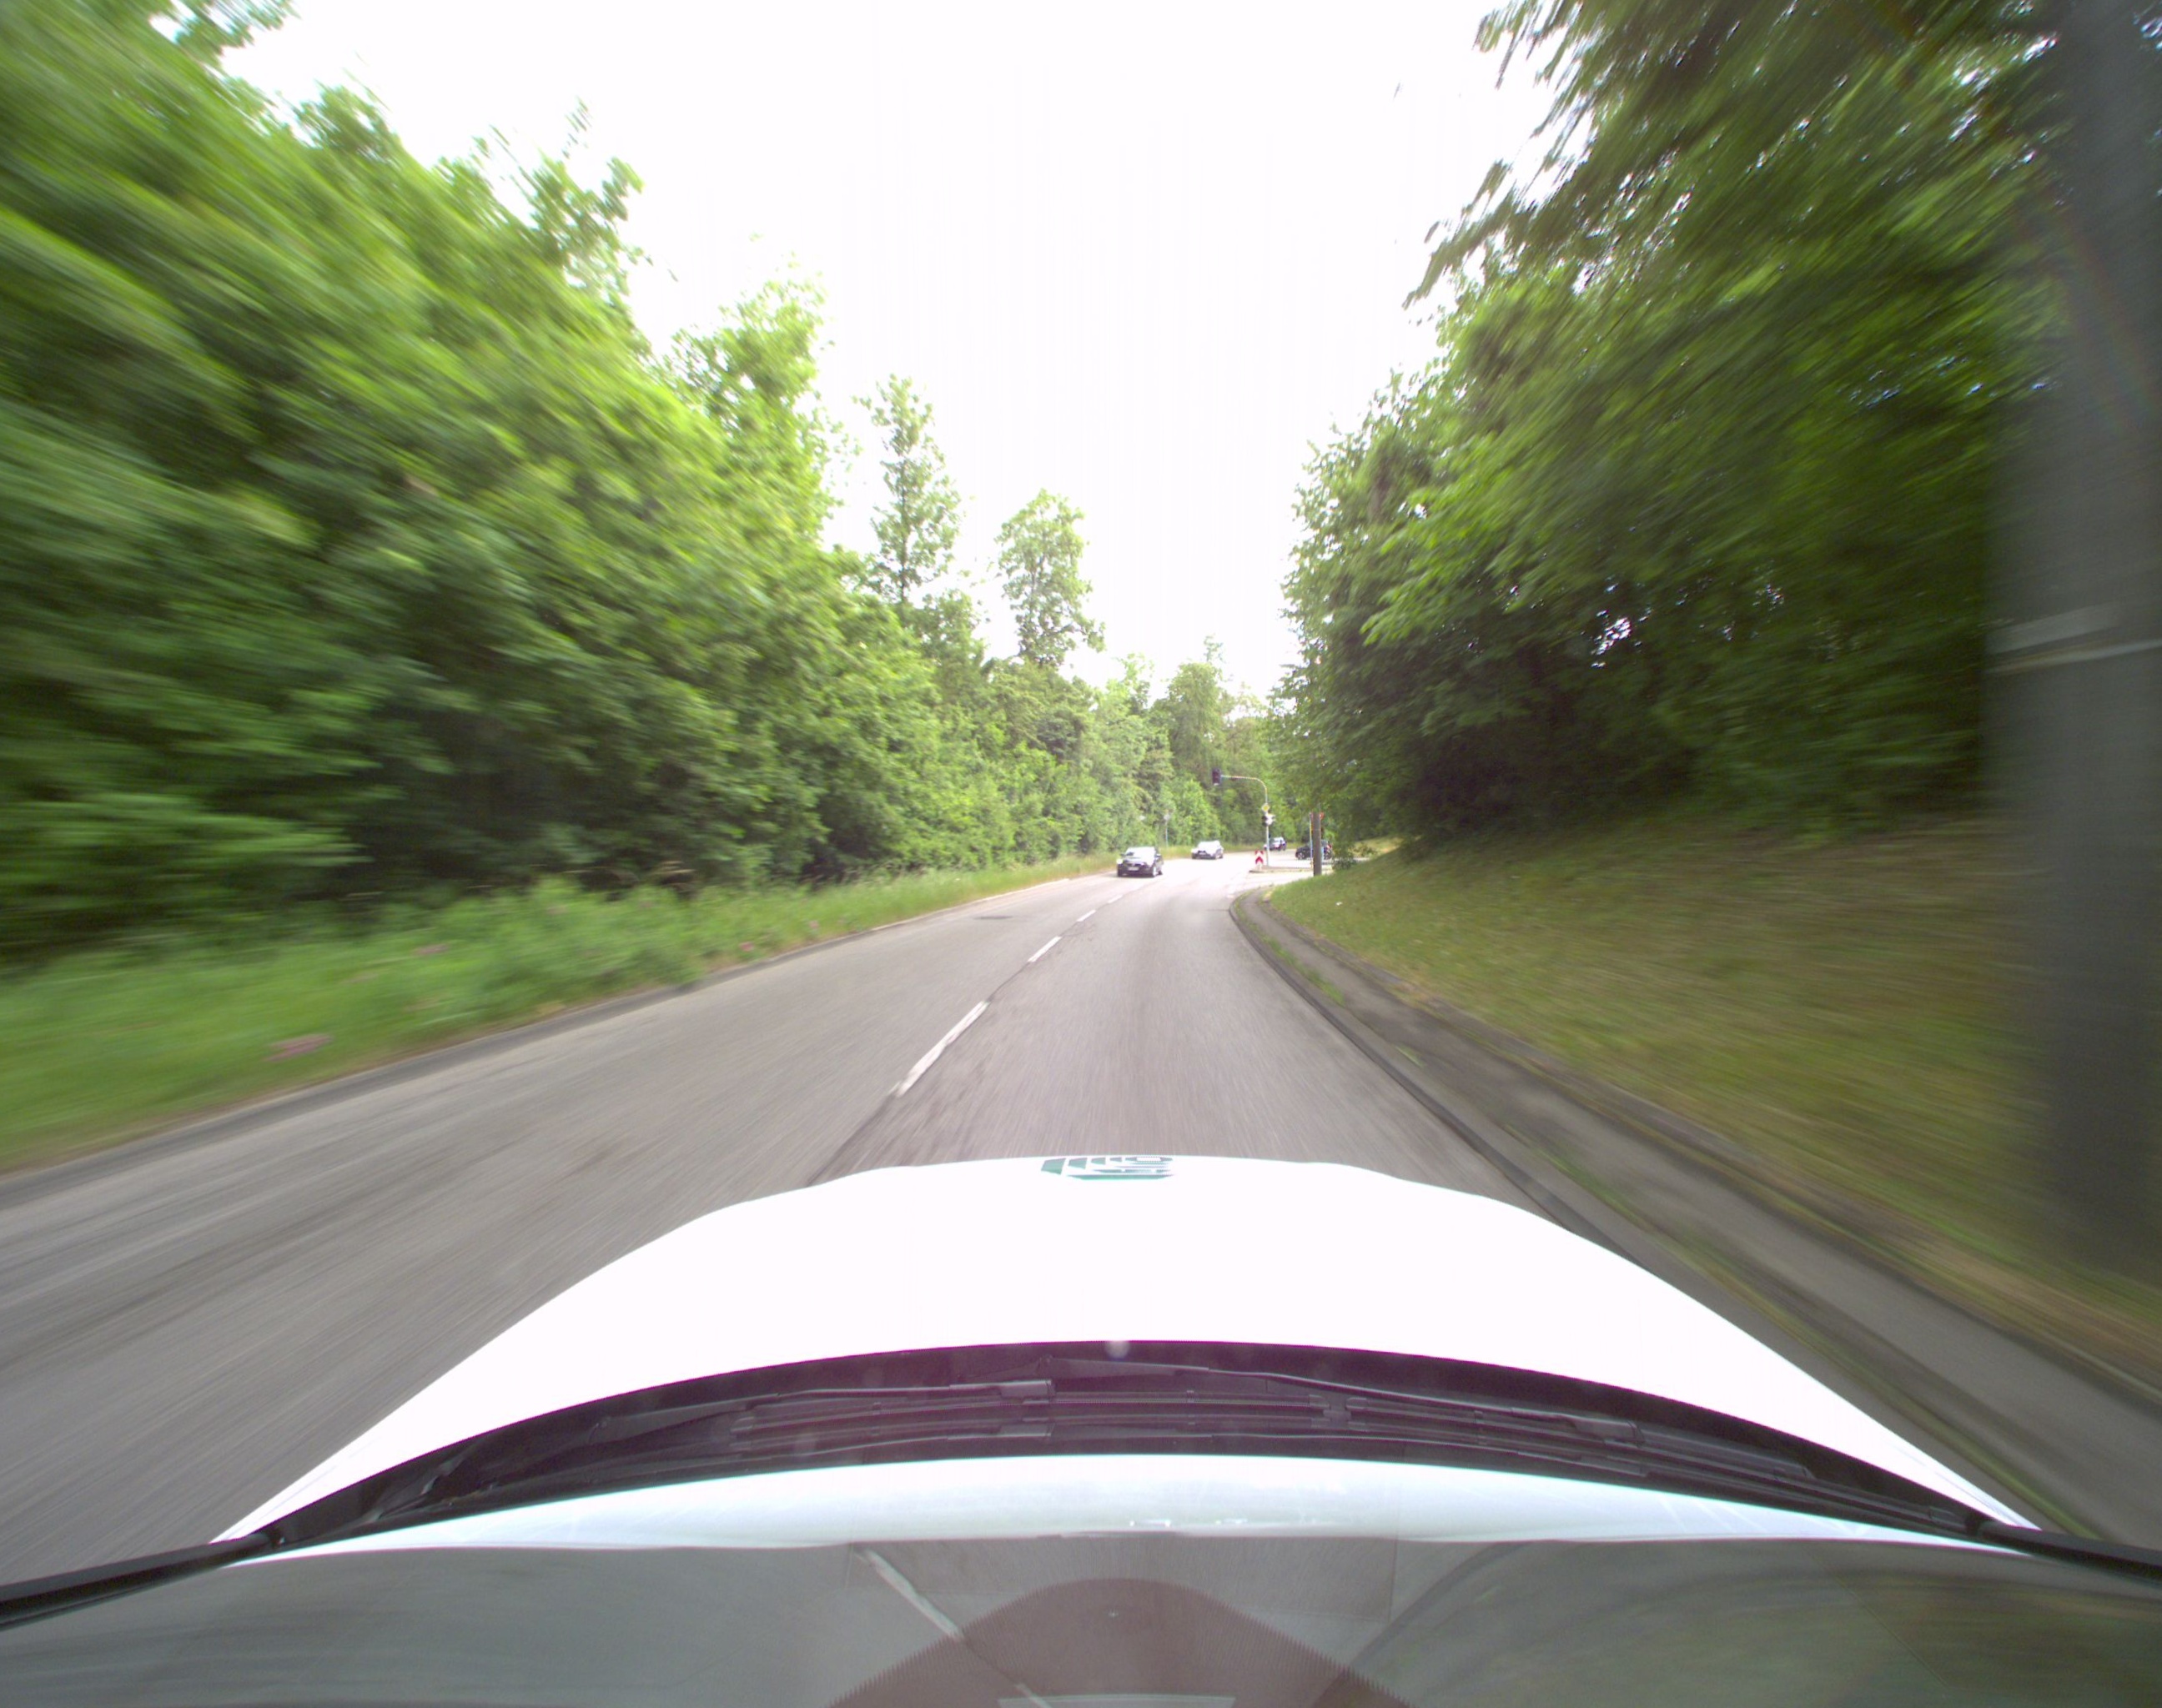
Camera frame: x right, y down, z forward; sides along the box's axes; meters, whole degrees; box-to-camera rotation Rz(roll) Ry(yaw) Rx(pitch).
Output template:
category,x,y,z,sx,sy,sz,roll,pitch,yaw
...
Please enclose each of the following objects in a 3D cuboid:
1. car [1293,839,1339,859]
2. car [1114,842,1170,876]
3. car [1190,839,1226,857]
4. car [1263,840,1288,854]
category,x,y,z,sx,sy,sz,roll,pitch,yaw
car,18.270,-0.403,63.223,3.276,1.494,1.676,1,2,20
car,3.013,0.206,39.515,1.789,1.434,4.680,1,2,16
car,10.034,-0.475,64.072,1.882,1.354,4.867,2,1,20
car,22.225,-0.789,93.091,1.772,1.514,4.871,1,1,26
